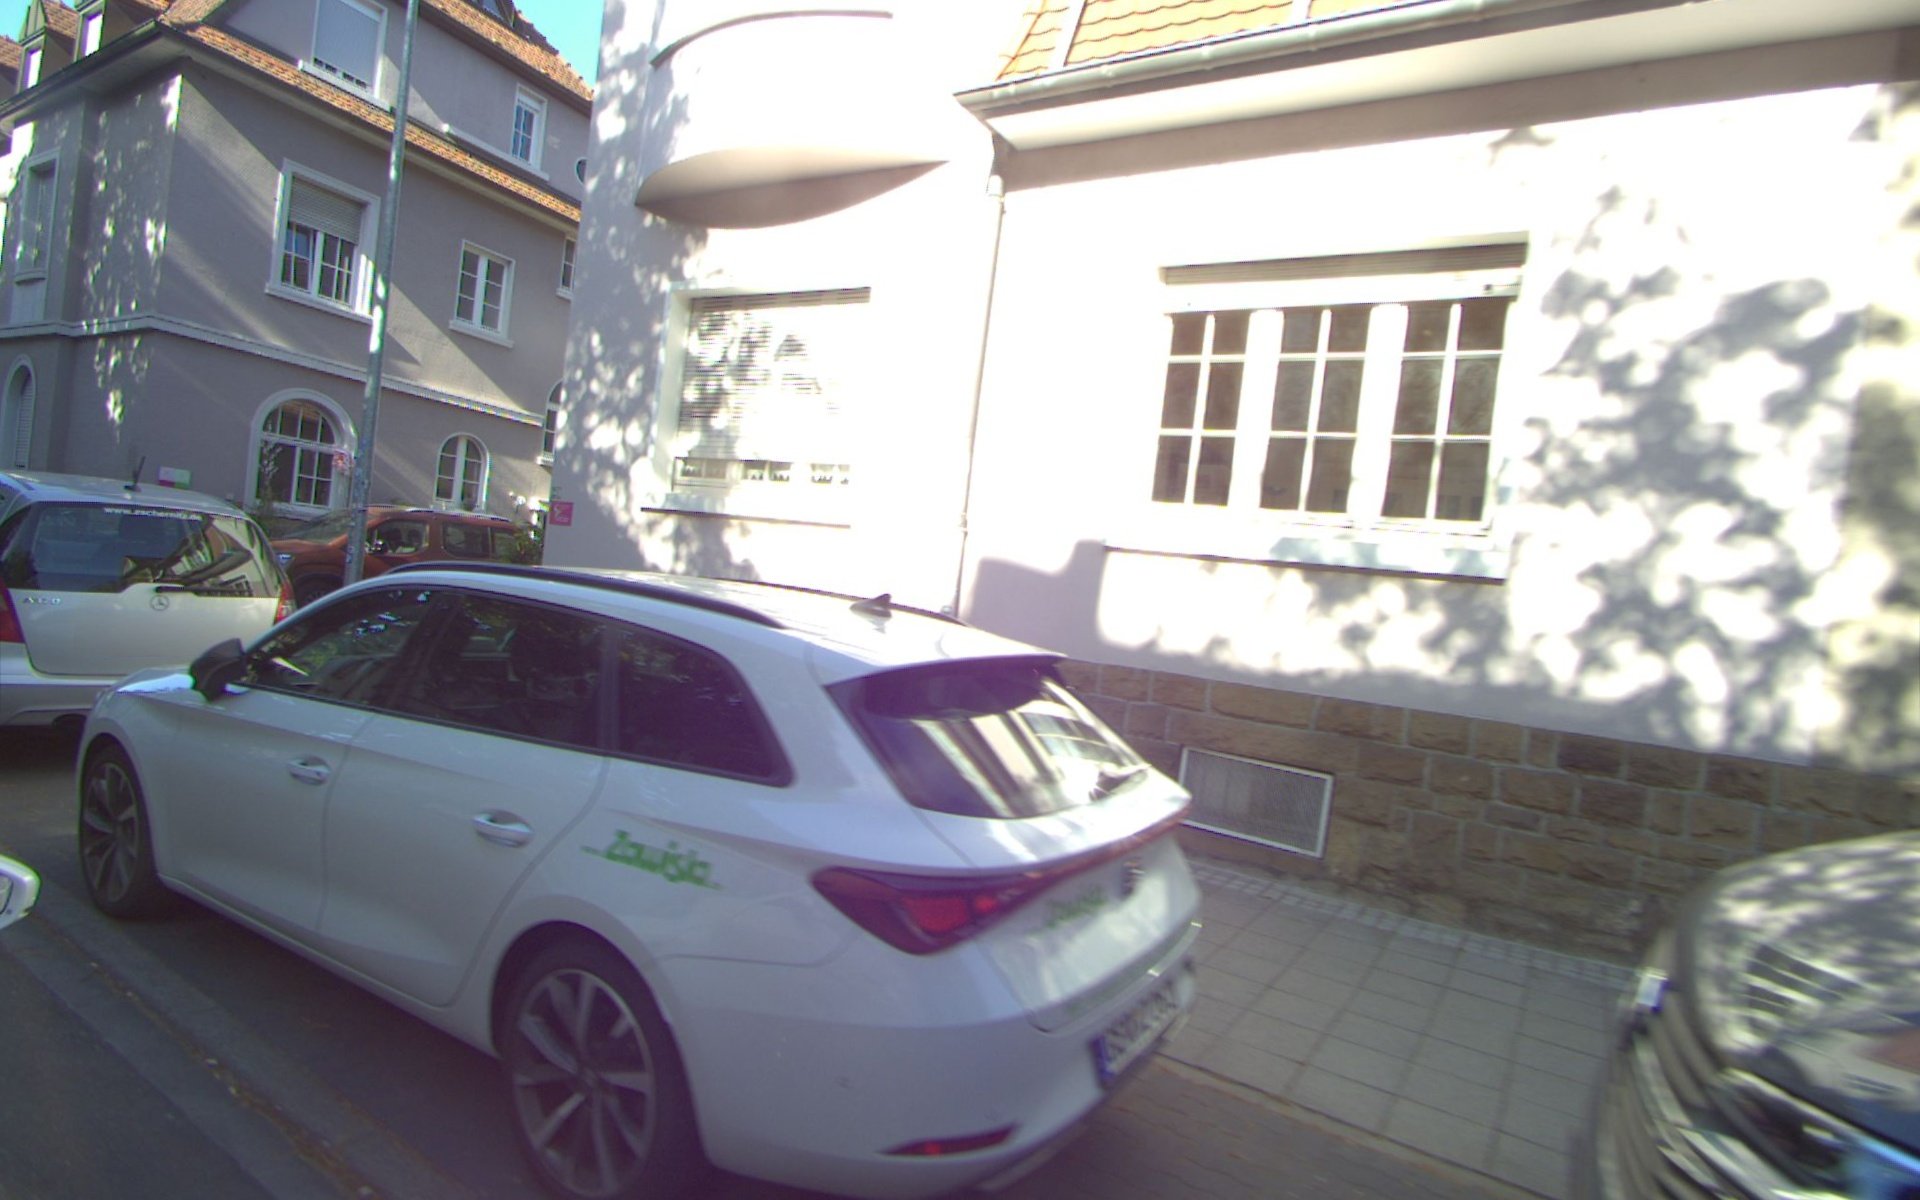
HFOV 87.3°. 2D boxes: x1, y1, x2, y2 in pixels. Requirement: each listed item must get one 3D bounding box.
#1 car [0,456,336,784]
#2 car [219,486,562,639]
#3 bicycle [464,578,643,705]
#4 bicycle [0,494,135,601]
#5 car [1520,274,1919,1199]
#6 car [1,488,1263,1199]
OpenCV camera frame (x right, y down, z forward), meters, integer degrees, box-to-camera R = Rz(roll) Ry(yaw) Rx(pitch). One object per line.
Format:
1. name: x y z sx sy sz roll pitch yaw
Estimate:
1. car: -6.012 -0.044 6.570 3.936 1.622 1.788 6 2 34
2. car: -8.515 -0.473 15.420 1.736 1.866 4.142 6 0 32
3. bicycle: -3.949 0.432 9.907 0.389 1.114 1.638 7 0 30
4. bicycle: -13.451 -0.801 14.983 2.213 1.354 1.083 7 1 32
5. car: 3.177 0.861 0.762 4.704 1.941 1.865 7 2 33
6. car: -1.406 0.573 3.565 4.363 1.476 1.681 7 1 30
